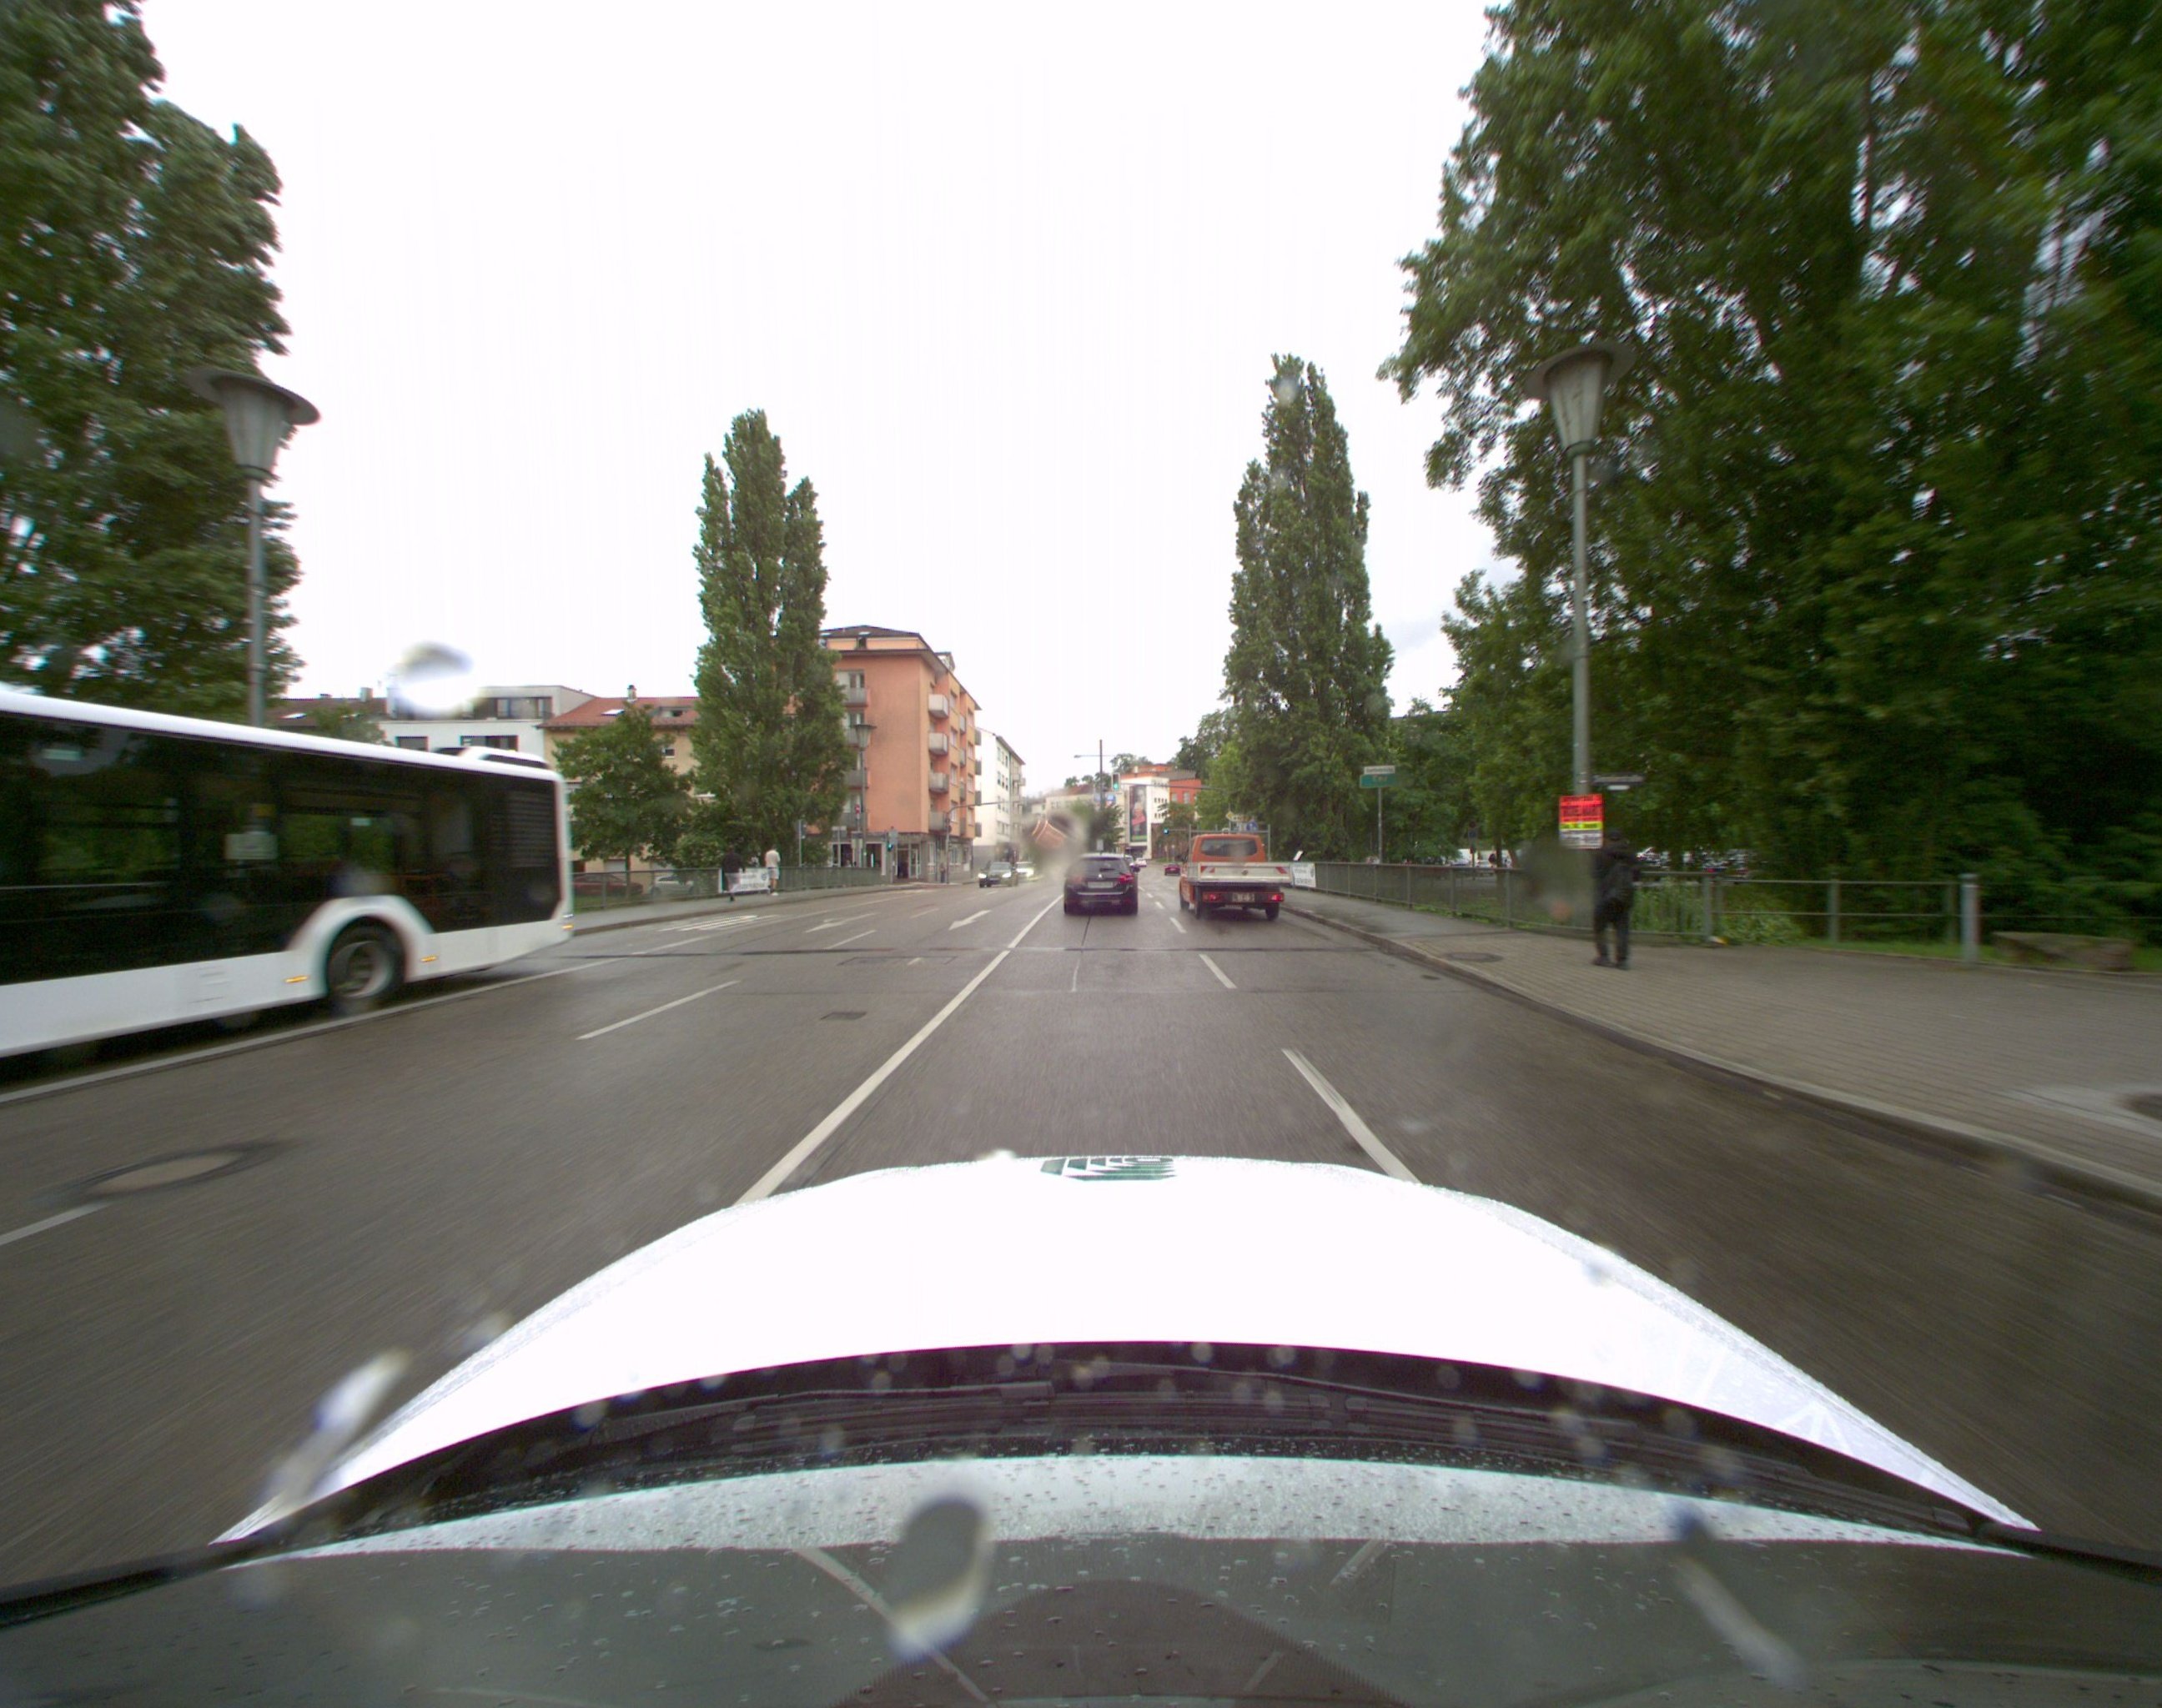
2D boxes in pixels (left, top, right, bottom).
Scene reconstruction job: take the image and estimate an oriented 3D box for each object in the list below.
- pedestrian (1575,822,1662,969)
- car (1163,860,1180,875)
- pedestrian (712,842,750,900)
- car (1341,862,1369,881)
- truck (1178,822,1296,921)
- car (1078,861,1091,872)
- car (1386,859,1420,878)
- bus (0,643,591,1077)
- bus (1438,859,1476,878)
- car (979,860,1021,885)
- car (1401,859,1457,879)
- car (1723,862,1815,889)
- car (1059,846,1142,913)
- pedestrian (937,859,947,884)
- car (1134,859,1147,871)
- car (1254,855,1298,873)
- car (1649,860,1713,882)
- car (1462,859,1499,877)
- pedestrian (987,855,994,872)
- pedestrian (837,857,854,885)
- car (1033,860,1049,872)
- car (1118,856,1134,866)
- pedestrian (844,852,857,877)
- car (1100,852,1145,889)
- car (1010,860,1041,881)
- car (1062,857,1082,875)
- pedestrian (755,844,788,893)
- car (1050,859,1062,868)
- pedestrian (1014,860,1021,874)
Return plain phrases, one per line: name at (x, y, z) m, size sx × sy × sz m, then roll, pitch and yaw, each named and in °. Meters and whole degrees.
pedestrian at (6.330, 0.473, 9.615) m, size 0.637 × 1.664 × 0.563 m, roll -1°, pitch 1°, yaw 1°
car at (10.537, 1.622, 94.905) m, size 1.638 × 1.564 × 3.601 m, roll 2°, pitch -3°, yaw 2°
pedestrian at (-11.065, 0.540, 25.743) m, size 0.695 × 1.794 × 0.960 m, roll 1°, pitch -1°, yaw 5°
car at (30.864, 2.026, 91.840) m, size 1.896 × 2.014 × 3.724 m, roll 3°, pitch -3°, yaw 0°
truck at (3.528, 0.354, 19.306) m, size 2.113 × 2.025 × 4.719 m, roll 1°, pitch 0°, yaw 3°
car at (0.492, 1.647, 110.668) m, size 1.647 × 1.450 × 3.546 m, roll -2°, pitch -1°, yaw 3°
car at (30.053, 1.349, 76.023) m, size 1.591 × 1.651 × 3.595 m, roll 1°, pitch -1°, yaw -3°
bus at (-9.008, 0.040, 6.102) m, size 2.733 × 3.075 × 12.247 m, roll 0°, pitch 1°, yaw 3°
bus at (34.740, 1.360, 75.416) m, size 1.984 × 1.724 × 4.005 m, roll 0°, pitch -1°, yaw 5°
car at (-4.535, 1.021, 46.086) m, size 1.785 × 1.325 × 4.408 m, roll -1°, pitch -1°, yaw 2°
car at (29.776, 1.292, 69.746) m, size 4.110 × 1.621 × 1.805 m, roll 0°, pitch -1°, yaw -2°
car at (42.615, 1.323, 50.516) m, size 3.966 × 1.546 × 1.894 m, roll 1°, pitch -1°, yaw 6°
car at (0.596, 0.625, 20.554) m, size 1.786 × 1.484 × 4.005 m, roll 1°, pitch -1°, yaw 5°
pedestrian at (-9.800, 1.236, 57.269) m, size 0.528 × 1.727 × 0.650 m, roll -1°, pitch -1°, yaw 6°
car at (9.668, 1.772, 131.895) m, size 1.986 × 1.821 × 4.002 m, roll 1°, pitch 0°, yaw 2°
car at (19.370, 0.995, 80.991) m, size 3.968 × 1.650 × 1.920 m, roll 2°, pitch 0°, yaw 5°
car at (43.860, 1.207, 59.669) m, size 1.795 × 1.587 × 3.903 m, roll 0°, pitch -1°, yaw 0°
car at (37.424, 1.294, 76.328) m, size 1.810 × 1.651 × 4.006 m, roll 1°, pitch -1°, yaw 5°
pedestrian at (-9.837, 0.999, 88.461) m, size 0.637 × 1.861 × 0.524 m, roll 1°, pitch -1°, yaw 0°
pedestrian at (-14.326, 1.024, 49.624) m, size 0.789 × 1.663 × 0.625 m, roll -3°, pitch -3°, yaw 37°
car at (-5.459, 1.613, 111.352) m, size 1.770 × 1.525 × 3.663 m, roll 0°, pitch -1°, yaw 2°
car at (7.839, 1.251, 142.100) m, size 1.649 × 1.564 × 3.577 m, roll 3°, pitch -3°, yaw -18°
pedestrian at (-13.801, 0.637, 48.791) m, size 0.652 × 1.445 × 0.797 m, roll -1°, pitch -3°, yaw -9°
car at (1.856, 0.706, 35.477) m, size 1.786 × 1.483 × 4.006 m, roll -1°, pitch -1°, yaw 5°
car at (-4.121, 1.192, 61.111) m, size 1.829 × 1.510 × 4.823 m, roll 0°, pitch 0°, yaw 2°
car at (-0.835, 1.131, 79.140) m, size 1.730 × 1.601 × 3.921 m, roll -2°, pitch -1°, yaw 2°
pedestrian at (-11.345, 0.532, 29.866) m, size 0.793 × 1.794 × 0.813 m, roll 1°, pitch -1°, yaw 4°
car at (-4.051, 1.604, 131.502) m, size 1.658 × 1.400 × 3.878 m, roll -1°, pitch -1°, yaw 2°
pedestrian at (-8.809, 1.795, 113.083) m, size 0.731 × 2.014 × 0.651 m, roll 4°, pitch -3°, yaw -31°
